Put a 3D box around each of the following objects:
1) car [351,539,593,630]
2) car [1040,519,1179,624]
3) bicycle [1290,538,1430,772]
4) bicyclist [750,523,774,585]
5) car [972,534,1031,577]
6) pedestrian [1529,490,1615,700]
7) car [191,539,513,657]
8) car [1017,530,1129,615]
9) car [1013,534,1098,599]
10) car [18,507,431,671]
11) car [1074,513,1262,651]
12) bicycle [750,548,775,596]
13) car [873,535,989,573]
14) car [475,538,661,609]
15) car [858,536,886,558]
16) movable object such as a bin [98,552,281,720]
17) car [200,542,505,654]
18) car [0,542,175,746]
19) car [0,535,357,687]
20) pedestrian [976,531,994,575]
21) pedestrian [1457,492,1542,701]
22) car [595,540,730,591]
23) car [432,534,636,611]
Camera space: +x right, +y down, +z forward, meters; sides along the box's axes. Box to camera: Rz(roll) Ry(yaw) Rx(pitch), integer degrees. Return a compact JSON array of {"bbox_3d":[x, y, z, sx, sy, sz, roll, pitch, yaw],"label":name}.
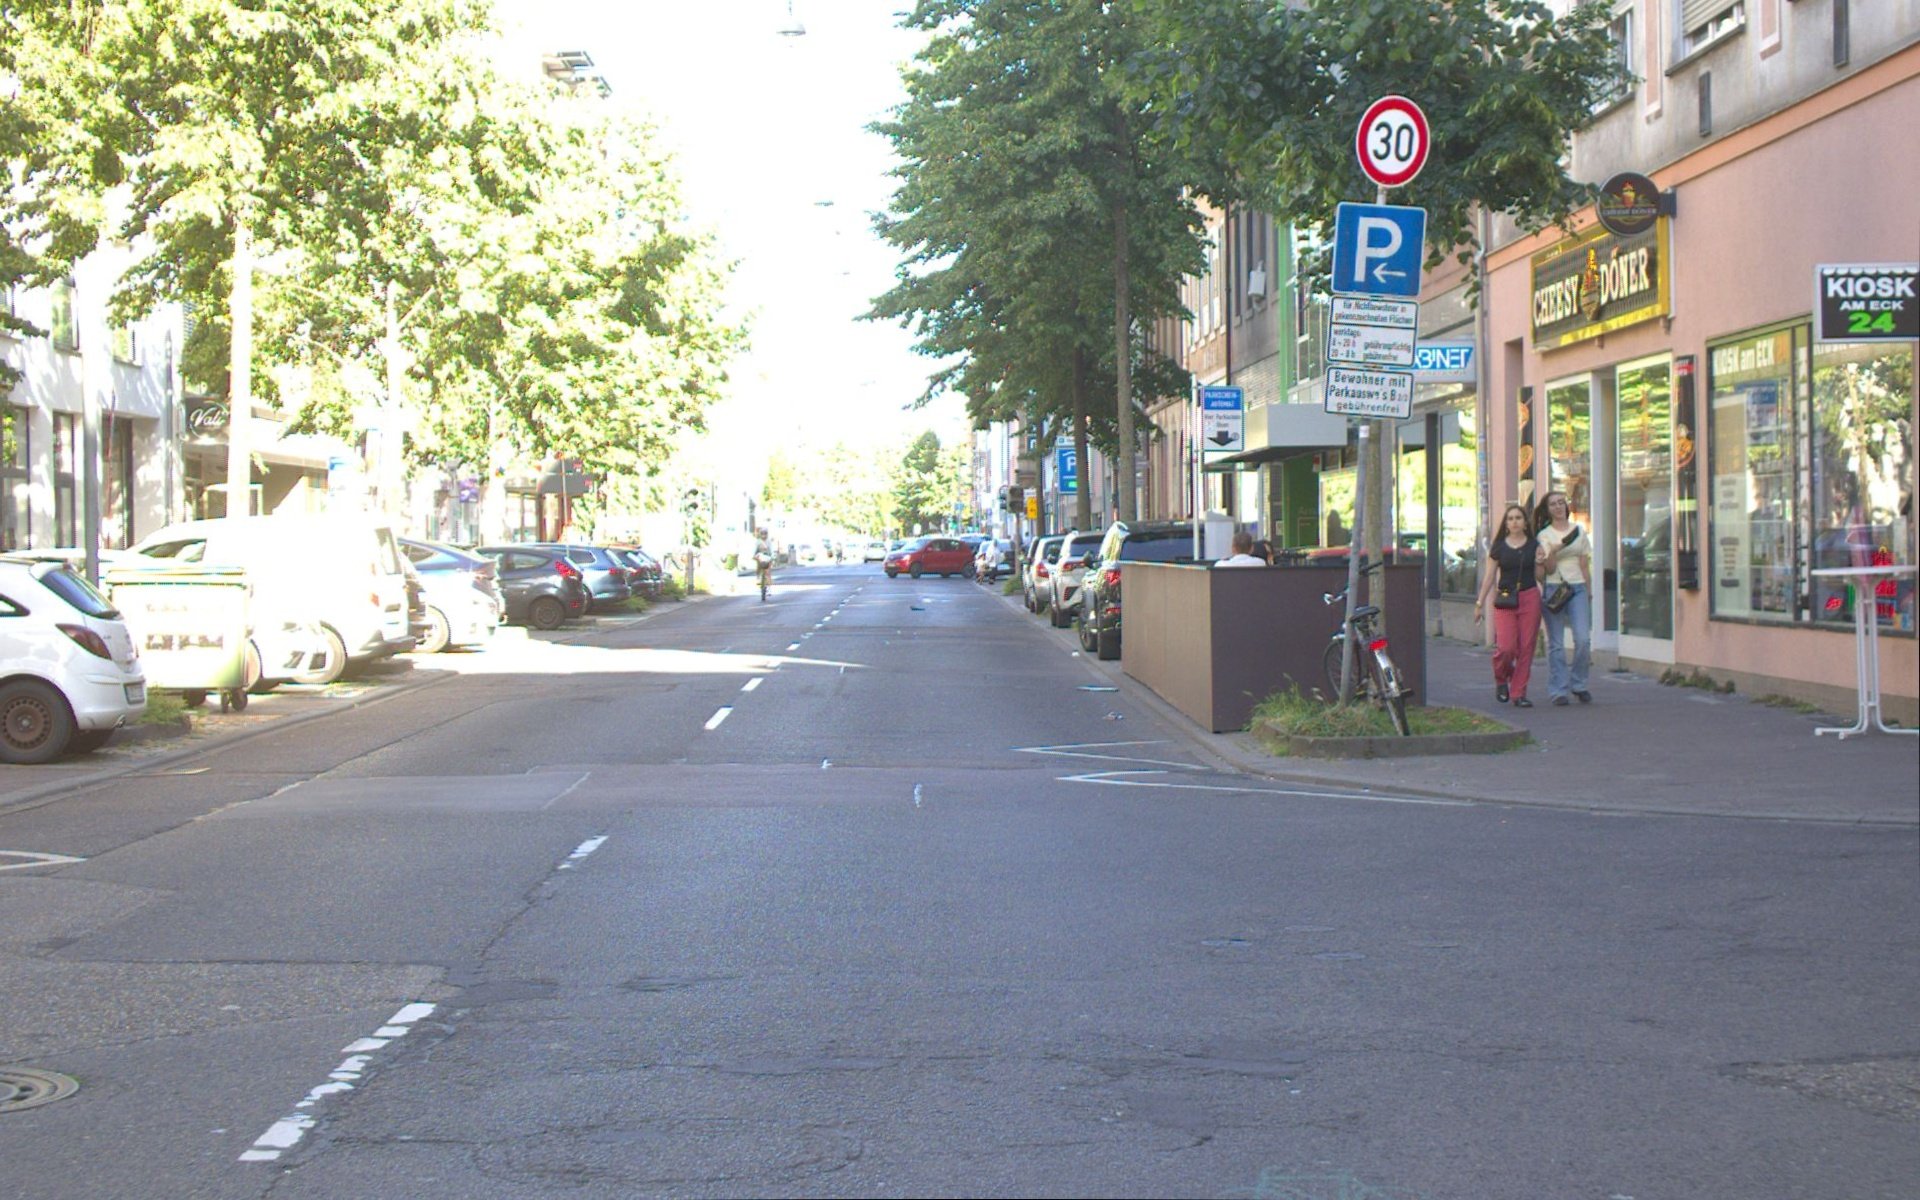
[{"bbox_3d":[-8.515,-0.283,60.269,3.986,1.494,2.000,-1,1,-2],"label":"car"},{"bbox_3d":[2.394,-0.489,55.819,1.993,1.604,4.000,-1,1,-1],"label":"car"},{"bbox_3d":[2.634,0.337,22.785,0.560,1.436,1.628,-7,1,-1],"label":"bicycle"},{"bbox_3d":[-4.943,-1.155,85.789,0.560,1.542,0.728,0,0,-1],"label":"bicyclist"},{"bbox_3d":[1.463,-1.602,123.820,1.993,1.503,4.000,0,0,-1],"label":"car"},{"bbox_3d":[4.875,-0.048,27.414,0.547,1.644,0.664,-1,1,-1],"label":"pedestrian"},{"bbox_3d":[-8.143,-0.048,46.321,3.986,1.494,2.000,-1,1,-2],"label":"car"},{"bbox_3d":[2.218,-0.570,68.458,1.993,1.604,4.000,-1,1,-1],"label":"car"},{"bbox_3d":[2.454,-0.884,88.801,1.993,1.604,4.000,-1,1,-1],"label":"car"},{"bbox_3d":[-7.973,-0.130,37.502,3.987,1.688,2.000,-1,1,4],"label":"car"},{"bbox_3d":[2.511,-0.253,42.446,1.993,1.604,4.000,-1,1,-1],"label":"car"},{"bbox_3d":[-4.933,-0.696,85.780,0.560,1.176,1.628,0,0,-1],"label":"bicycle"},{"bbox_3d":[-1.086,-1.748,131.016,3.987,1.437,2.000,0,0,-35],"label":"car"},{"bbox_3d":[-8.786,-0.606,77.283,3.986,1.494,2.000,-1,1,-2],"label":"car"},{"bbox_3d":[-5.913,-3.540,230.611,1.792,1.406,4.000,-1,1,-1],"label":"car"},{"bbox_3d":[-6.991,0.308,31.277,1.334,1.473,1.480,-1,1,-1],"label":"movable object such as a bin"},{"bbox_3d":[-8.580,-0.023,48.824,3.986,1.495,2.000,-1,0,-2],"label":"car"},{"bbox_3d":[-7.831,0.309,24.594,3.986,1.385,2.000,-1,1,-2],"label":"car"},{"bbox_3d":[-8.287,0.097,34.703,3.987,1.452,1.868,-1,1,4],"label":"car"},{"bbox_3d":[0.842,-1.569,114.754,0.545,1.467,0.546,-1,1,-3],"label":"pedestrian"},{"bbox_3d":[4.302,-0.033,27.422,0.547,1.644,0.664,-1,1,-1],"label":"pedestrian"},{"bbox_3d":[-9.098,-1.071,105.231,3.986,1.494,2.000,-1,1,-2],"label":"car"},{"bbox_3d":[-8.766,-0.582,71.036,3.986,1.494,2.000,-1,1,-2],"label":"car"}]
